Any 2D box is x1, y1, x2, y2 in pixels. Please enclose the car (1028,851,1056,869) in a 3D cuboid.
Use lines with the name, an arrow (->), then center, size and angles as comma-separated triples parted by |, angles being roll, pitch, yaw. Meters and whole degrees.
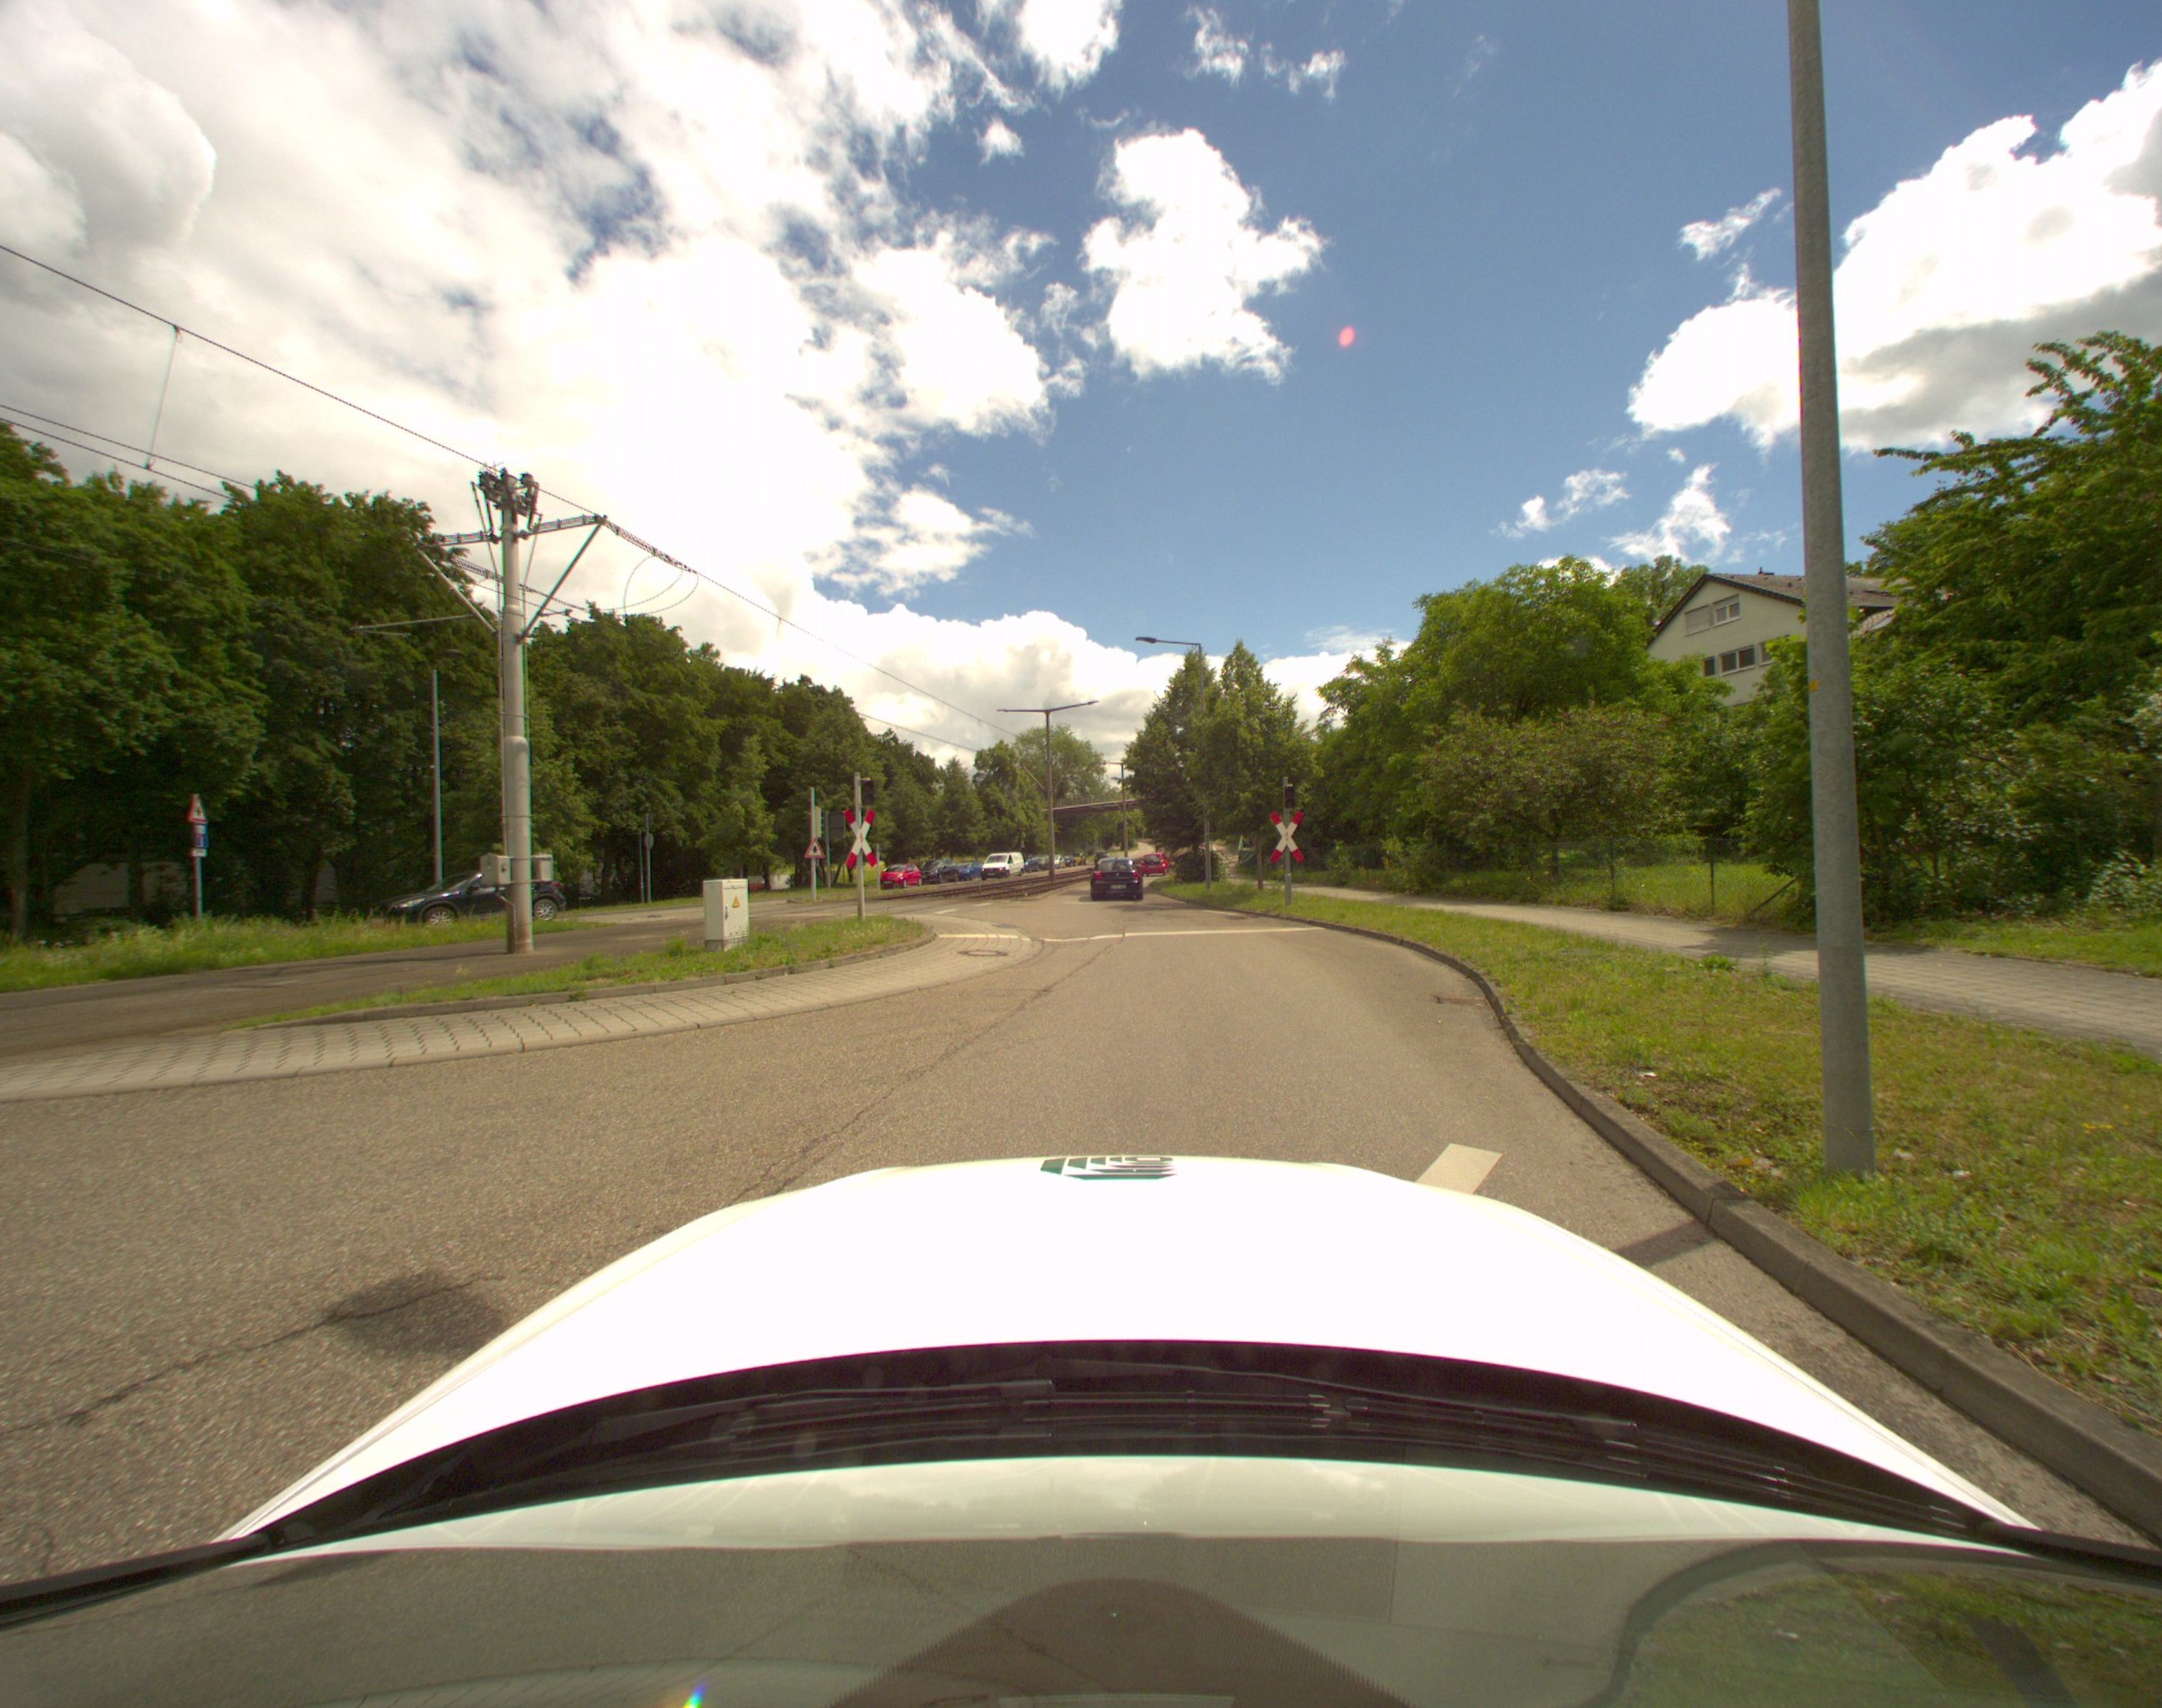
car -> -3.772, 0.567, 79.422 | 1.631, 1.622, 4.140 | -2, -1, 13

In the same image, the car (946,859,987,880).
car -> -8.238, 1.113, 58.960 | 1.602, 1.461, 4.021 | -1, -1, 13

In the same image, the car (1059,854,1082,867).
car -> -1.162, 0.755, 92.056 | 1.677, 1.450, 3.912 | -1, -1, 13

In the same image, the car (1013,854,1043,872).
car -> -4.758, 0.803, 73.381 | 1.546, 1.596, 4.174 | -1, -1, 13

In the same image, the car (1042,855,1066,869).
car -> -2.768, 0.824, 84.883 | 1.583, 1.494, 4.205 | -1, 0, 11

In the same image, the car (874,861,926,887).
car -> -10.715, 1.183, 48.484 | 1.602, 1.452, 3.674 | -1, -1, 13

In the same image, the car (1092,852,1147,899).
car -> 1.260, 0.689, 28.082 | 1.703, 1.460, 3.960 | 0, 0, 0

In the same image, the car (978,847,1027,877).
car -> -5.472, 0.571, 57.761 | 1.862, 2.019, 5.253 | -1, -1, 13

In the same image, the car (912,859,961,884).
car -> -9.466, 1.133, 53.712 | 1.569, 1.605, 4.390 | -1, -1, 13

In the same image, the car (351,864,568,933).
car -> -16.942, 1.158, 22.468 | 1.836, 1.585, 4.350 | -3, -1, 25

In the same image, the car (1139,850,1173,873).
car -> 4.784, 0.488, 51.600 | 1.612, 1.443, 3.434 | -1, -1, 14
